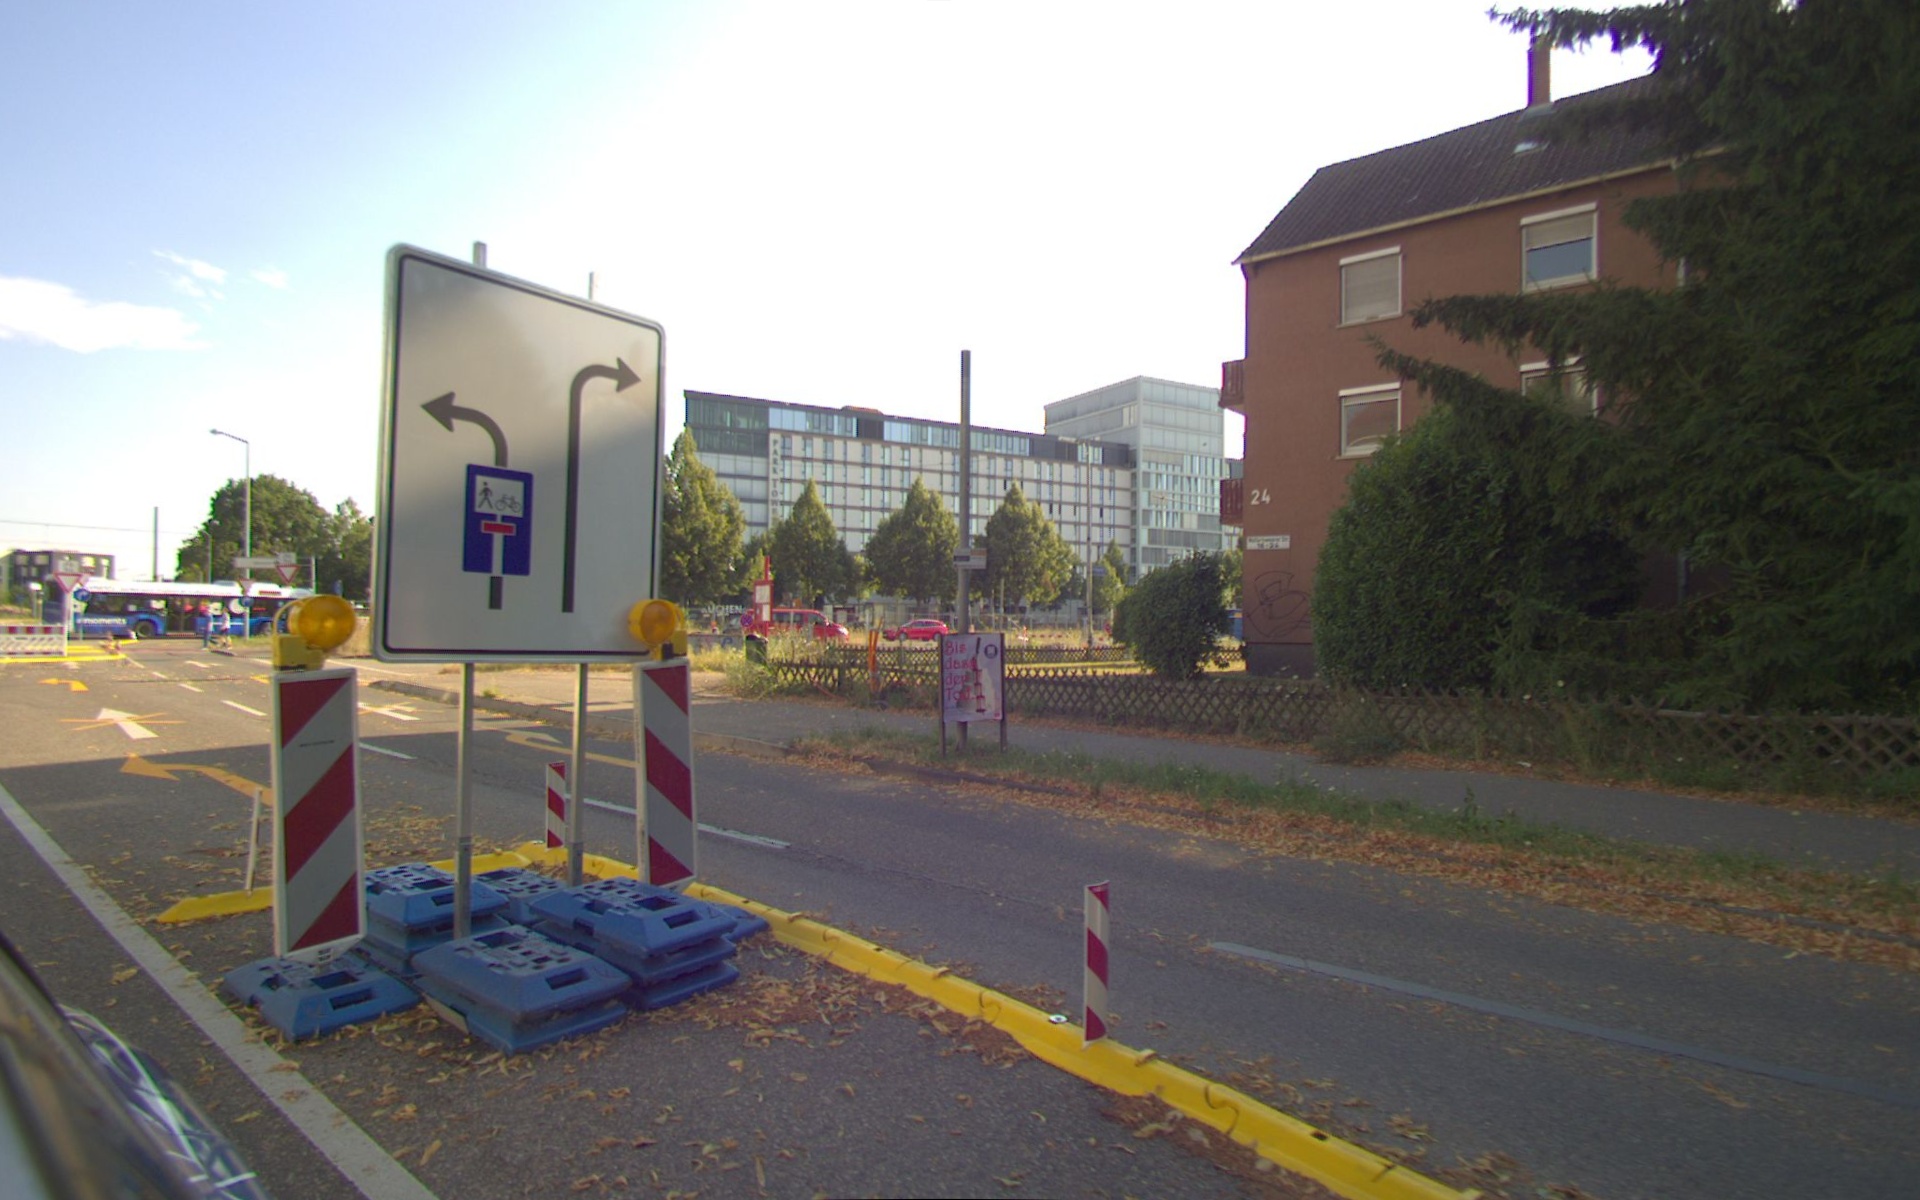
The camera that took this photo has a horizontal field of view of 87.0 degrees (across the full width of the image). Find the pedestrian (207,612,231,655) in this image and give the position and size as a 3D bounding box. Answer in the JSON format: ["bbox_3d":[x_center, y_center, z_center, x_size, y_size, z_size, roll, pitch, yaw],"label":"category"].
[{"bbox_3d":[-31.364,1.411,42.840,0.759,1.789,0.762,2,-2,-35],"label":"pedestrian"}]

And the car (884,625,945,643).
[{"bbox_3d":[-3.033,2.272,67.602,3.867,1.175,1.336,1,-2,-25],"label":"car"}]

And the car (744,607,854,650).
[{"bbox_3d":[-7.976,1.437,50.015,5.224,2.029,2.005,1,-2,-13],"label":"car"}]

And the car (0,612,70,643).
[{"bbox_3d":[-49.089,1.416,52.523,1.770,1.542,3.961,0,-3,28],"label":"car"}]

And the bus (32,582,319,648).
[{"bbox_3d":[-41.062,0.850,53.852,2.653,3.085,12.068,0,-1,26],"label":"bus"}]

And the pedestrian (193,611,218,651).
[{"bbox_3d":[-32.314,1.329,43.351,0.799,1.722,0.788,2,-2,-35],"label":"pedestrian"}]

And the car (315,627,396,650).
[{"bbox_3d":[-40.536,2.544,67.948,1.803,1.447,4.344,0,-1,28],"label":"car"}]
